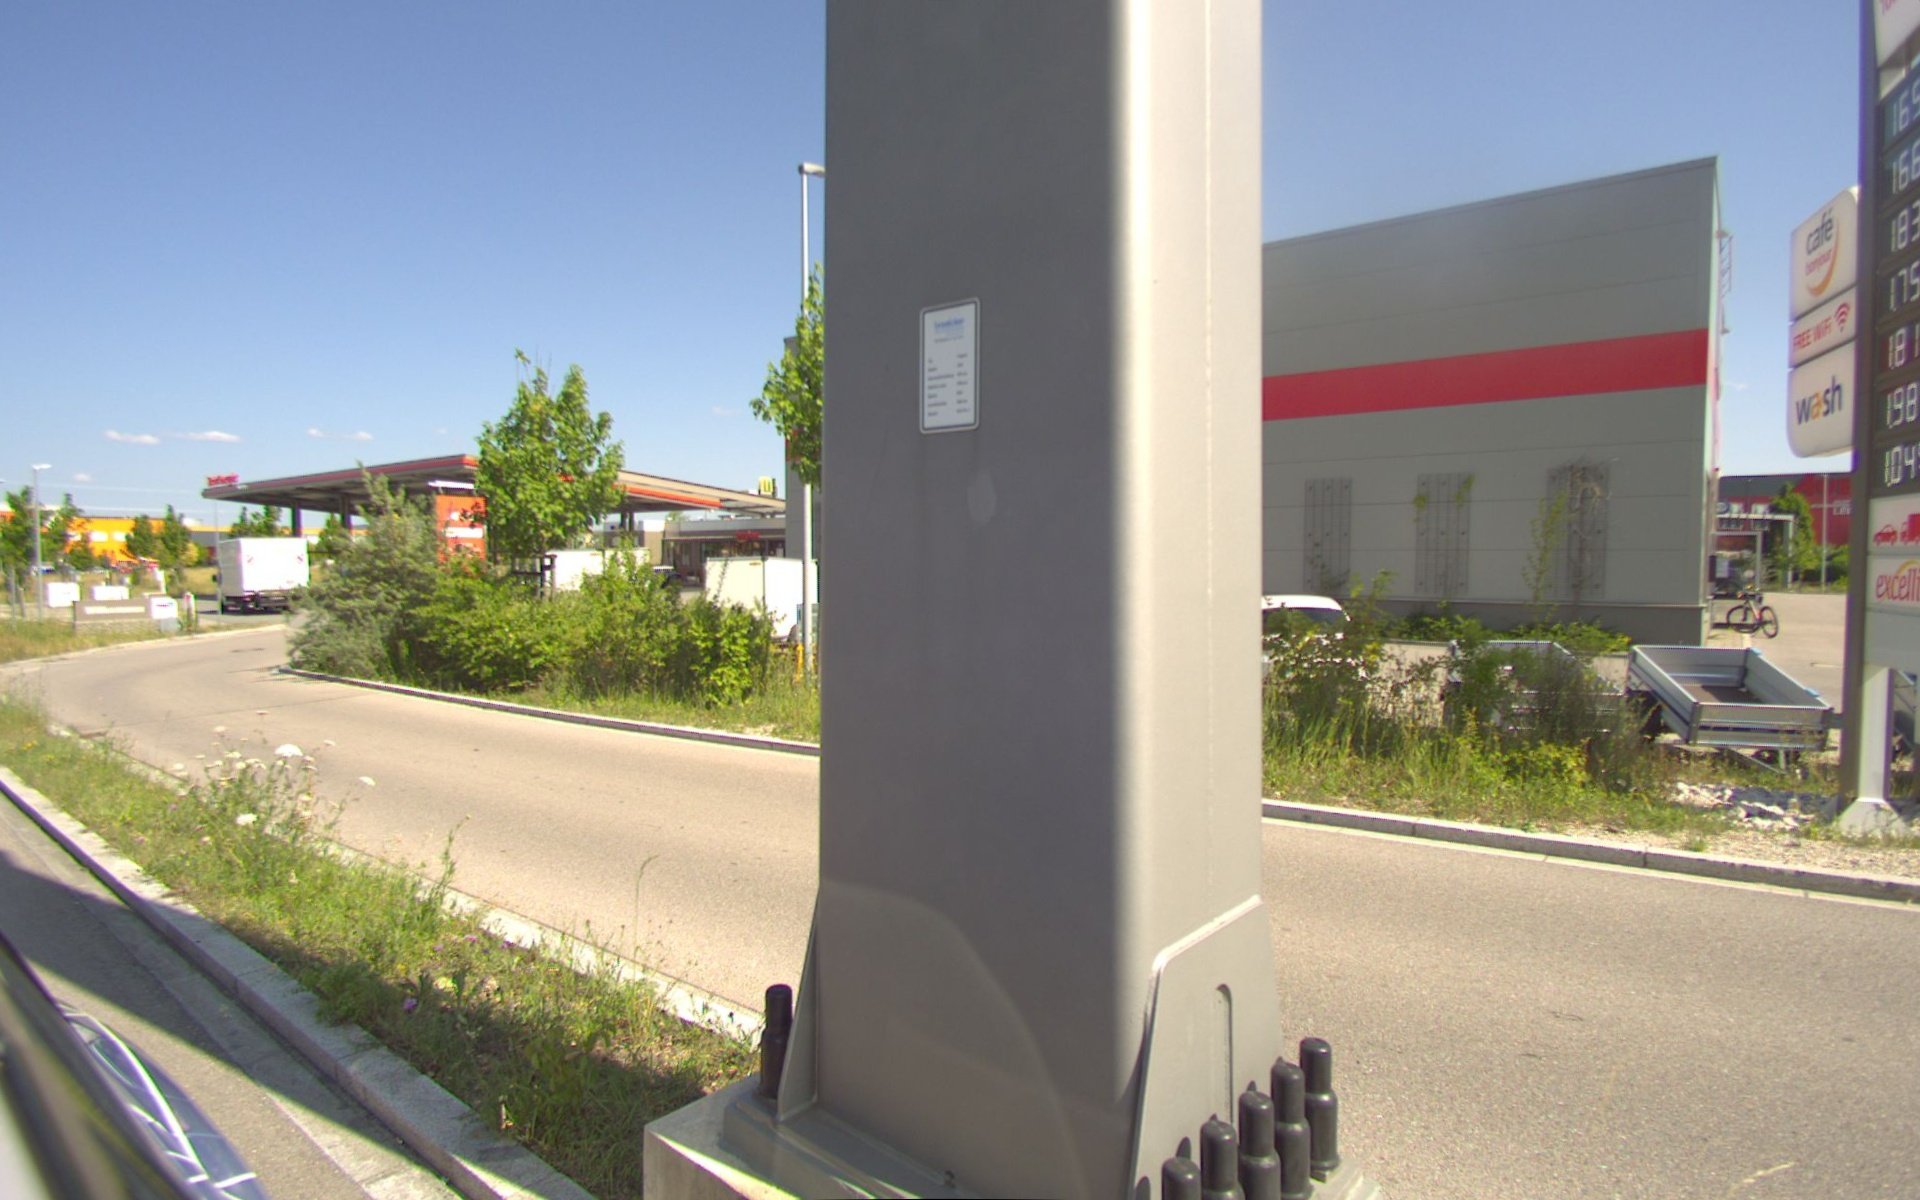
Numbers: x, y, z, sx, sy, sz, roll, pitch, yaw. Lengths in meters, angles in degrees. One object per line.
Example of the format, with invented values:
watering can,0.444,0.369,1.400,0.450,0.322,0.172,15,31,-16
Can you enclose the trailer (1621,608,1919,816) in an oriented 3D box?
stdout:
trailer,7.588,0.897,9.558,1.537,1.494,3.170,-1,2,20

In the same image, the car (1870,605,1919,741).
car,12.987,0.833,11.050,4.496,1.494,1.779,0,2,42

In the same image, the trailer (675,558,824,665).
trailer,-4.231,0.197,20.734,1.981,2.028,2.725,-1,2,14

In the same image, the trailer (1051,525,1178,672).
trailer,2.424,-0.062,15.756,1.728,2.028,3.231,-1,2,10

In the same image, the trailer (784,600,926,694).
trailer,-1.908,0.830,19.467,1.584,1.521,3.585,-1,2,14

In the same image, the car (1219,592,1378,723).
car,4.796,0.716,14.832,1.701,1.547,3.986,-1,2,12

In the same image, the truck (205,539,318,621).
truck,-30.834,-0.873,44.543,6.906,3.343,2.605,0,2,43

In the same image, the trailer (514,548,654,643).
trailer,-8.711,-0.140,23.730,1.973,2.028,3.205,-1,2,2

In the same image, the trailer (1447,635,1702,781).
trailer,6.065,0.997,10.297,1.306,1.094,2.767,-1,2,11

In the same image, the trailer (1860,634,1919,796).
trailer,8.981,1.047,8.471,1.382,1.332,2.888,-1,2,25

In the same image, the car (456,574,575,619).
car,-19.350,-0.185,44.222,1.793,1.771,4.466,0,2,36
